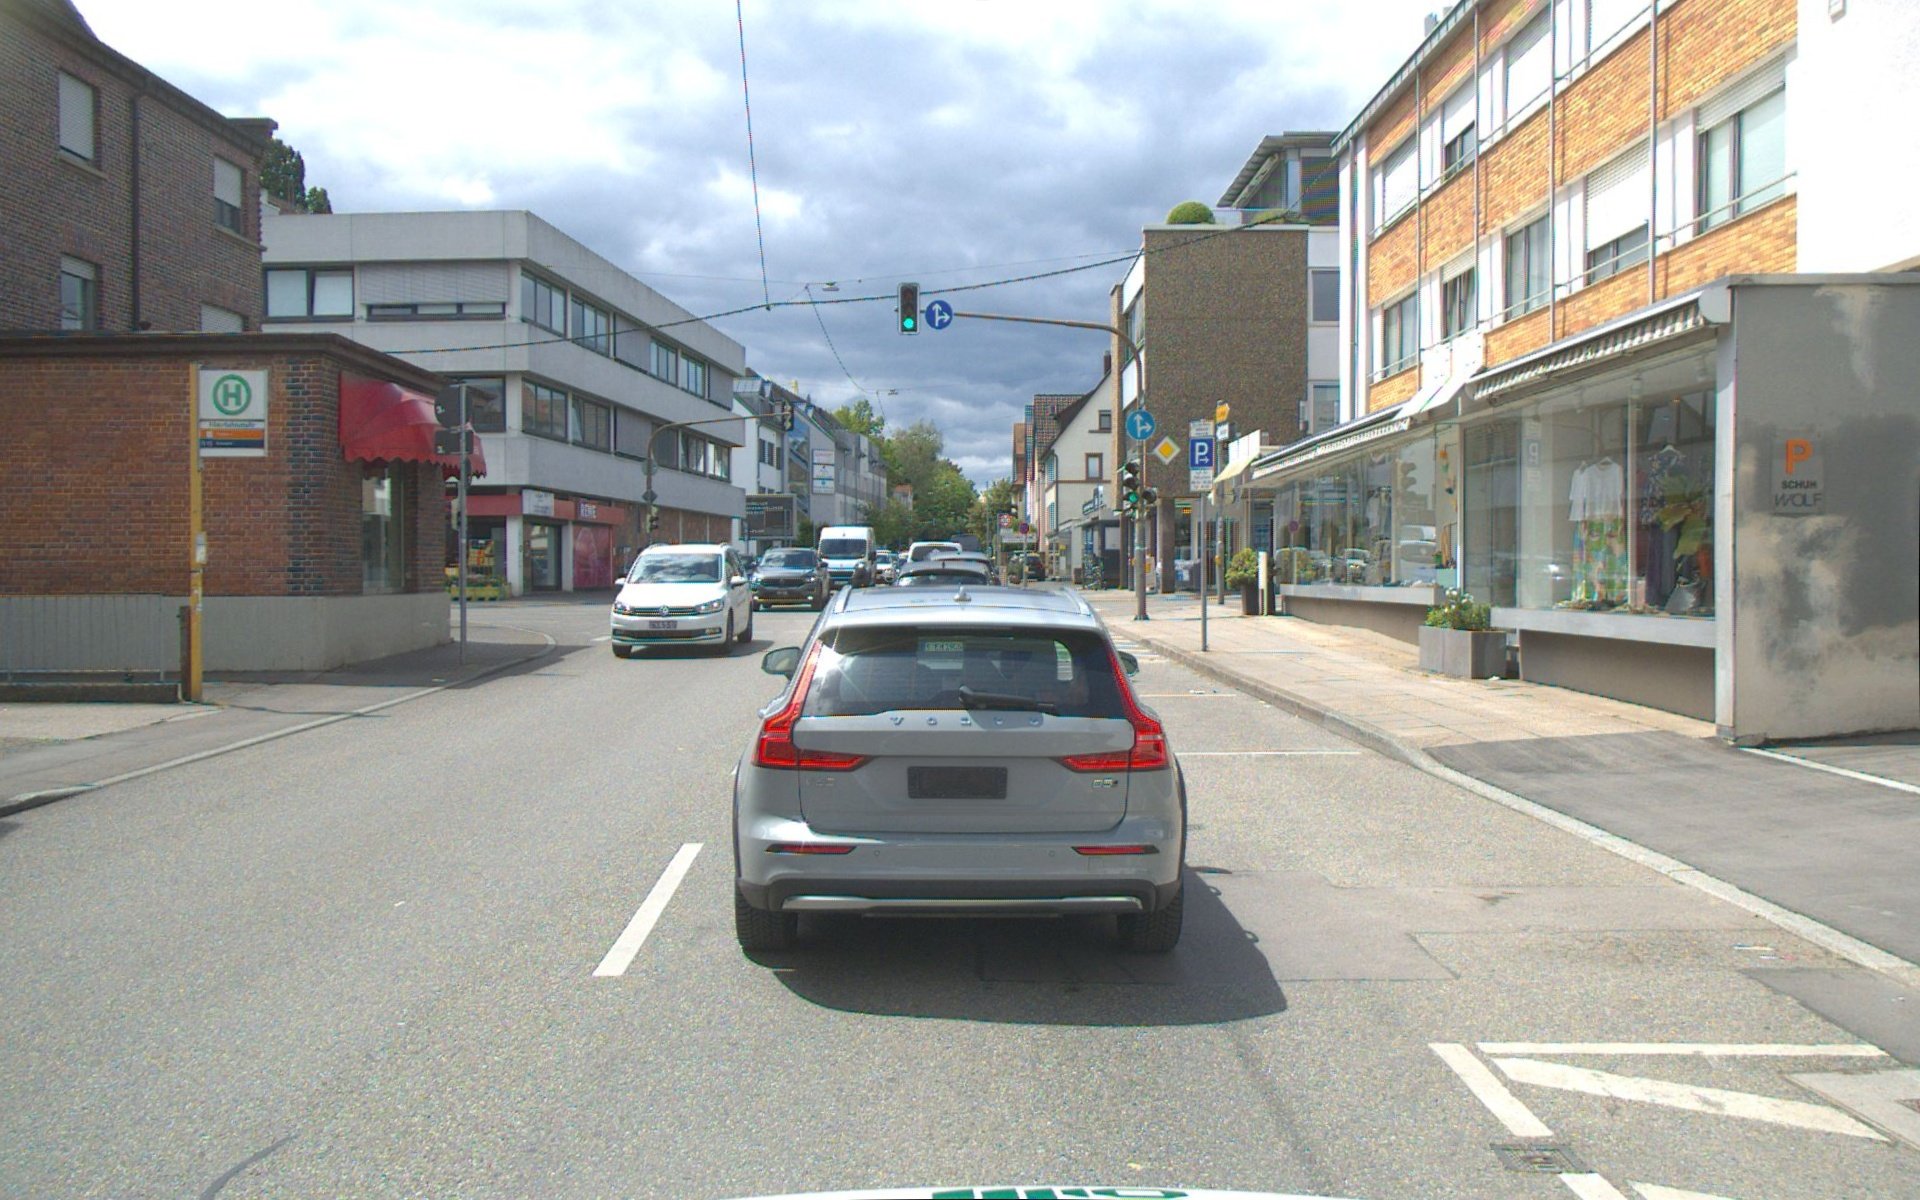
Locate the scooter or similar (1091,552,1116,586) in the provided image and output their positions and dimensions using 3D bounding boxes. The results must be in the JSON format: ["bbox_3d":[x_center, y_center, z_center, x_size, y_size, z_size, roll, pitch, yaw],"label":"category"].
[{"bbox_3d":[5.564,-1.205,64.284,0.336,1.275,1.235,-3,1,-26],"label":"scooter or similar"}]

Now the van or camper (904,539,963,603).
[{"bbox_3d":[-0.828,-0.870,51.694,1.782,1.867,3.999,0,-1,-1],"label":"van or camper"}]

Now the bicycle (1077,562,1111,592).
[{"bbox_3d":[5.450,-0.948,67.408,0.546,1.164,2.289,-1,2,-18],"label":"bicycle"}]

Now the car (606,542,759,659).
[{"bbox_3d":[-4.292,-0.067,26.171,1.739,1.640,4.120,-2,2,-1],"label":"car"}]

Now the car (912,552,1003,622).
[{"bbox_3d":[-0.073,-0.254,34.378,1.770,1.370,3.717,0,0,-1],"label":"car"}]

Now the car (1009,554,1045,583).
[{"bbox_3d":[3.699,-1.732,92.296,1.676,1.489,3.998,0,0,-2],"label":"car"}]

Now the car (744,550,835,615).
[{"bbox_3d":[-4.216,-0.429,41.393,1.753,1.537,3.846,0,0,2],"label":"car"}]

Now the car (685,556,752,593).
[{"bbox_3d":[-9.992,-1.088,68.743,1.864,1.468,4.446,1,2,4],"label":"car"}]

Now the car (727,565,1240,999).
[{"bbox_3d":[0.058,0.623,7.800,1.798,1.512,3.999,0,0,-1],"label":"car"}]

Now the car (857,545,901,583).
[{"bbox_3d":[-3.785,-1.703,77.486,1.744,1.668,4.221,-2,2,1],"label":"car"}]

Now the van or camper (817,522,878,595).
[{"bbox_3d":[-4.199,-1.601,62.526,2.105,2.600,5.437,-1,2,-2],"label":"van or camper"}]

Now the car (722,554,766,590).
[{"bbox_3d":[-9.725,-1.274,74.643,1.574,1.570,2.945,1,2,0],"label":"car"}]

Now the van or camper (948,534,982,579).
[{"bbox_3d":[0.324,-2.759,103.937,2.080,2.733,4.782,-1,1,0],"label":"van or camper"}]

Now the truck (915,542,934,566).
[{"bbox_3d":[-4.521,-5.863,211.796,2.229,2.936,7.080,-1,2,1],"label":"truck"}]

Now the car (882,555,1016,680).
[{"bbox_3d":[-0.155,0.180,21.899,1.617,1.508,3.607,0,1,-1],"label":"car"}]

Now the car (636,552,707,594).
[{"bbox_3d":[-10.928,-1.027,62.857,1.747,1.490,4.089,1,1,3],"label":"car"}]

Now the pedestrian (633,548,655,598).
[{"bbox_3d":[-10.691,-0.919,55.993,0.606,1.670,0.660,-1,1,1],"label":"pedestrian"}]
